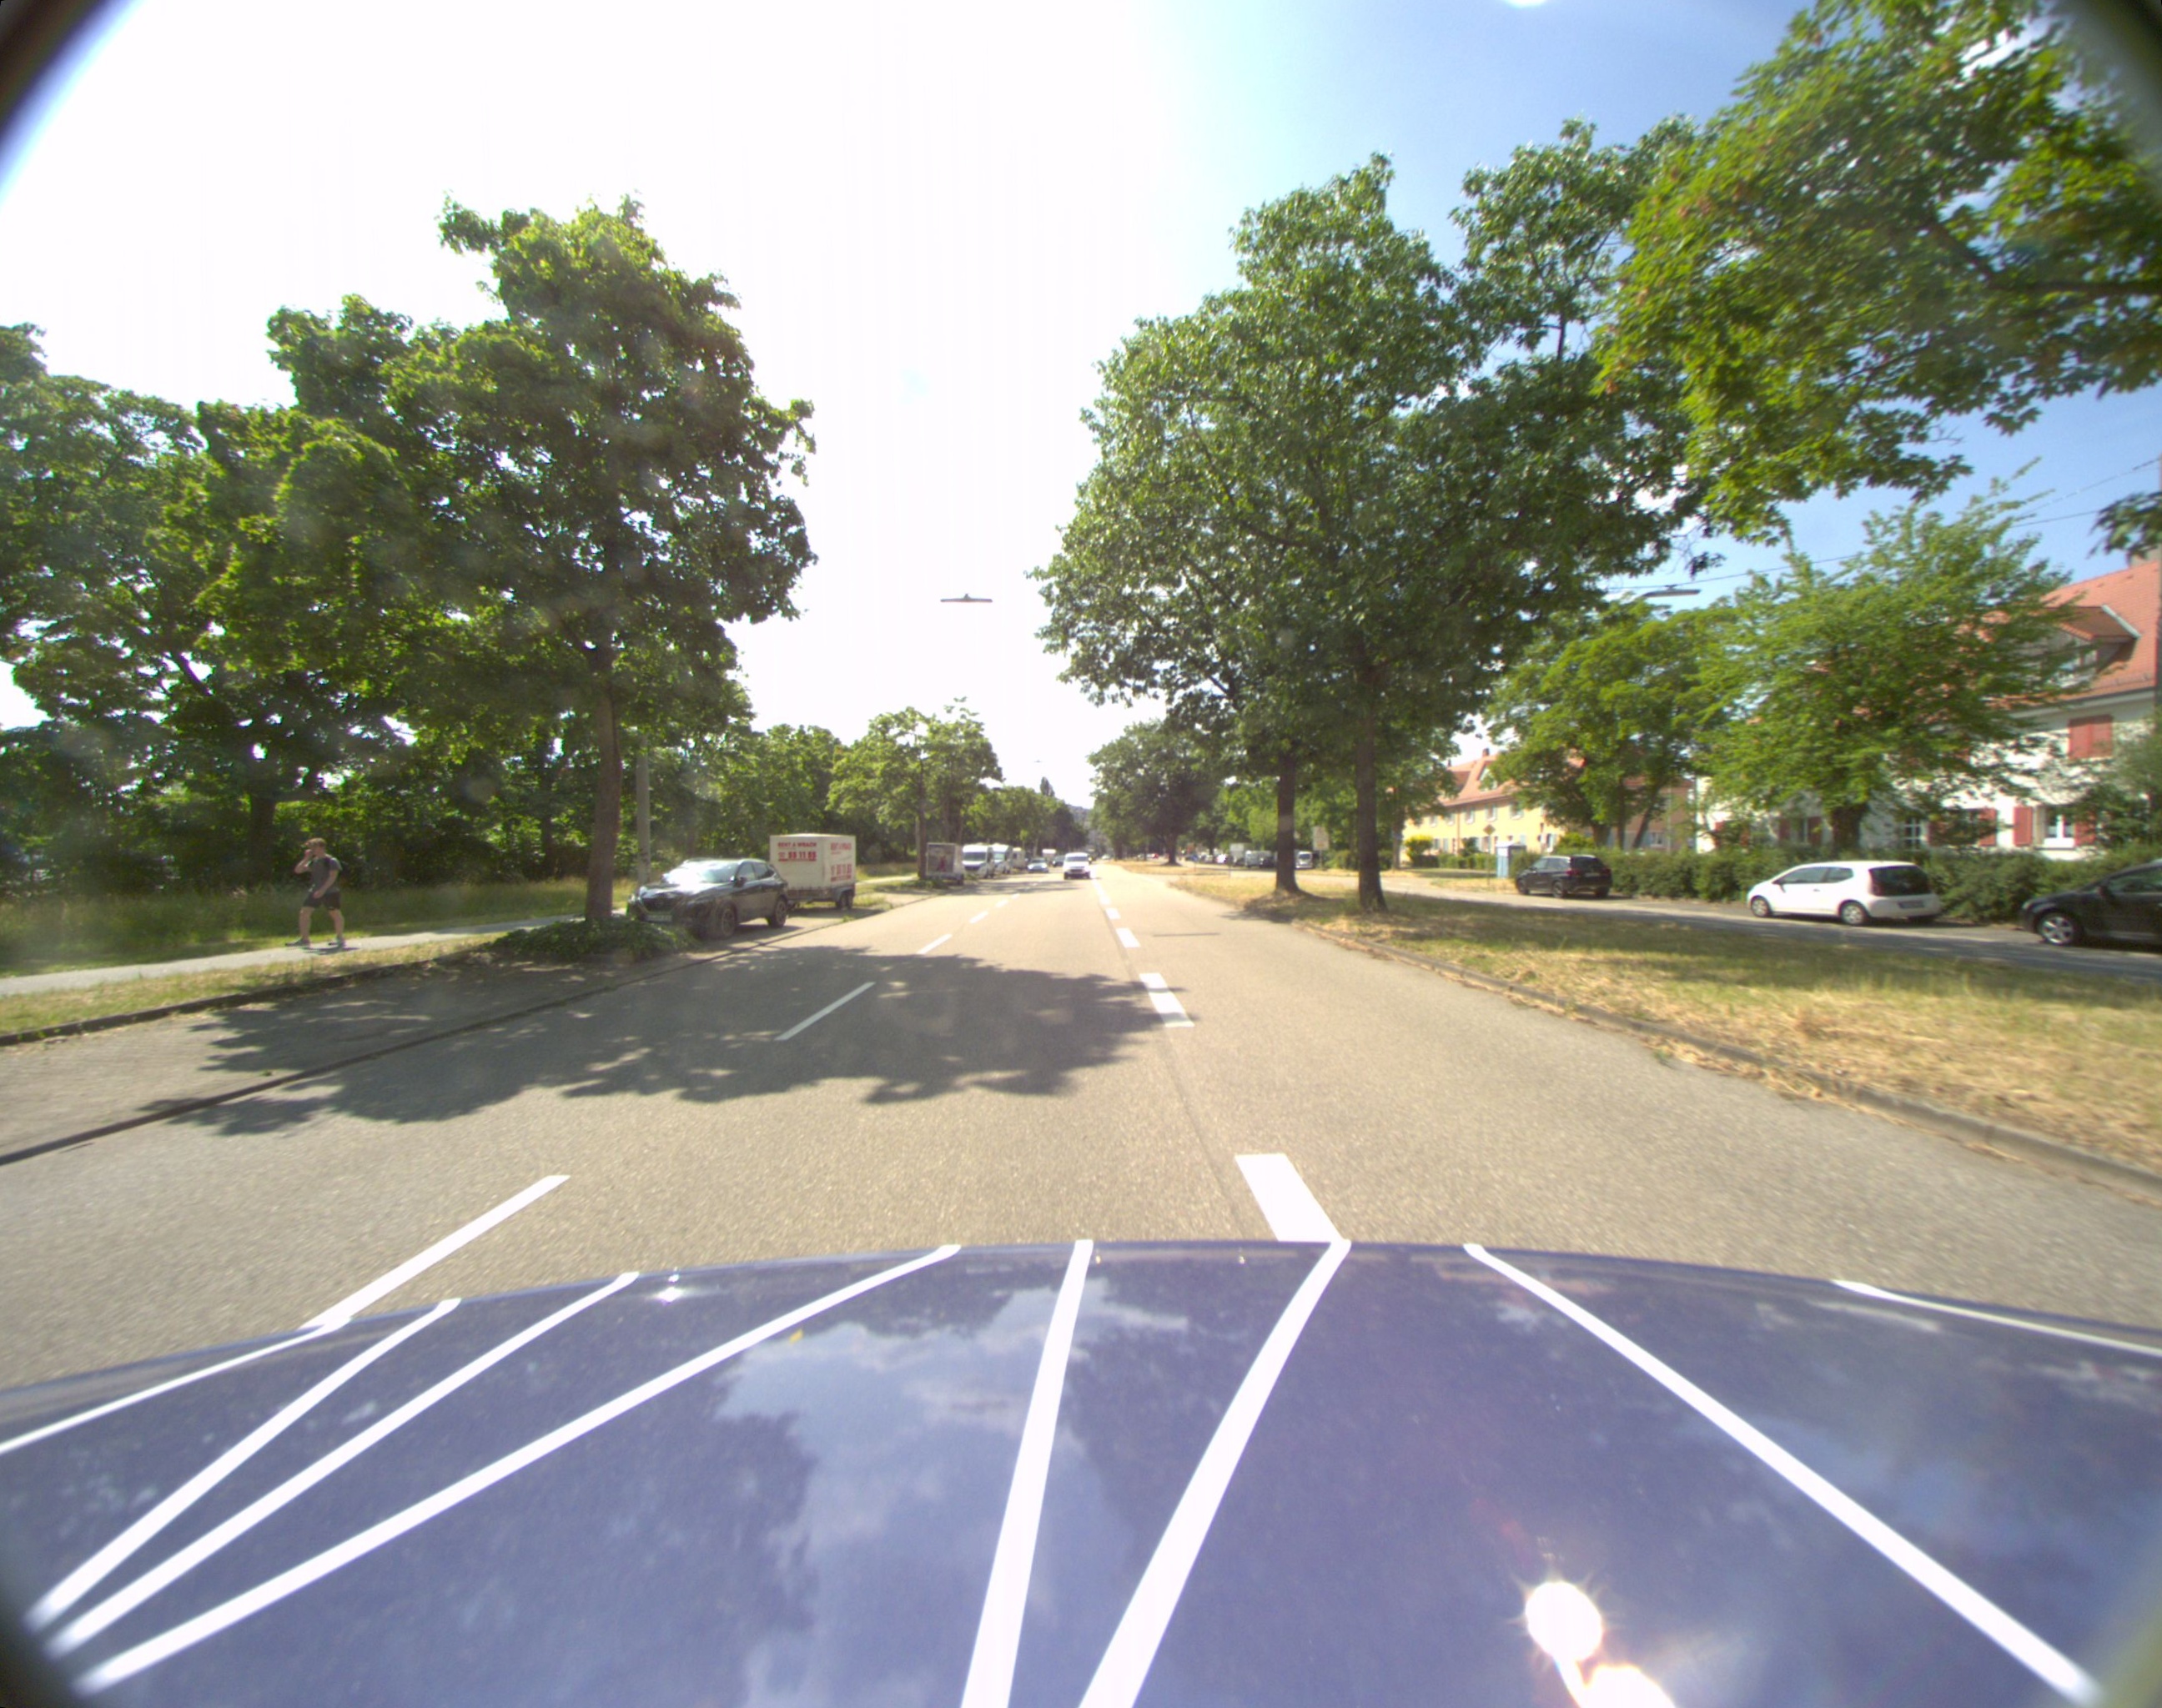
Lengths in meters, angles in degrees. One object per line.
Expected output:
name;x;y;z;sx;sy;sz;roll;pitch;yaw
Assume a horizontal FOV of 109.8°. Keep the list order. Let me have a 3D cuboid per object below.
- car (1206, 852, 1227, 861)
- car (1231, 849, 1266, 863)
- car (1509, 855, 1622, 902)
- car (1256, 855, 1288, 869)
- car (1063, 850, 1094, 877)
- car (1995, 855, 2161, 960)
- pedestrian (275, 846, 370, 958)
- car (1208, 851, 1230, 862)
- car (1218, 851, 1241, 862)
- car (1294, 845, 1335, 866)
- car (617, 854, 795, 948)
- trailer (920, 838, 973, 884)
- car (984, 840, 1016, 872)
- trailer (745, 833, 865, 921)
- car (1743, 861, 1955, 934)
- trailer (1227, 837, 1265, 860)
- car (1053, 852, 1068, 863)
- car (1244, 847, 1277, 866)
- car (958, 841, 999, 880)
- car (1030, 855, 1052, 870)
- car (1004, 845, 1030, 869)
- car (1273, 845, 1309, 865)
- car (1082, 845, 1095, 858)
car;22.567;0.398;126.447;1.668;1.341;3.827;-2;1;42
car;20.938;0.229;95.199;3.997;1.502;1.800;-3;1;1
car;18.597;0.888;29.382;1.771;1.543;3.999;-3;1;0
car;22.018;0.888;87.518;4.007;1.390;1.569;-3;1;-42
car;-0.104;0.650;53.163;1.935;1.774;4.716;-3;0;2
car;18.364;0.887;12.407;1.664;1.603;4.314;-3;1;0
pedestrian;-12.638;0.770;12.683;0.719;1.783;0.740;-3;1;0
car;21.870;0.380;120.324;1.668;1.456;3.827;-2;1;42
car;23.071;0.375;118.102;1.668;1.456;3.827;-2;1;42
car;22.111;0.106;71.895;4.008;1.849;1.800;-1;0;-42
car;-7.809;0.885;16.332;1.595;1.681;4.361;0;1;1
trailer;-7.646;0.344;43.534;1.998;2.352;4.781;3;1;1
car;-7.501;0.148;71.000;2.262;2.787;6.767;2;1;0
trailer;-8.071;0.597;22.714;1.958;2.338;4.605;1;1;-1
car;18.554;0.979;18.595;1.598;1.452;3.534;-3;1;0
trailer;23.320;-0.797;107.178;2.820;3.090;5.764;-3;0;39
car;-2.766;0.463;103.212;1.892;1.281;3.999;-3;1;0
car;21.357;0.323;90.285;4.007;2.002;1.800;-3;1;-42
car;-7.695;0.412;57.631;2.181;2.680;6.150;-3;1;0
car;-3.827;0.817;73.163;1.892;1.281;3.999;-3;1;0
car;-7.082;0.243;84.943;2.262;2.526;6.767;1;1;0
car;22.506;0.087;81.379;4.007;2.002;1.800;-3;1;-42
car;1.232;-0.389;122.813;1.768;1.893;4.541;-3;1;2
